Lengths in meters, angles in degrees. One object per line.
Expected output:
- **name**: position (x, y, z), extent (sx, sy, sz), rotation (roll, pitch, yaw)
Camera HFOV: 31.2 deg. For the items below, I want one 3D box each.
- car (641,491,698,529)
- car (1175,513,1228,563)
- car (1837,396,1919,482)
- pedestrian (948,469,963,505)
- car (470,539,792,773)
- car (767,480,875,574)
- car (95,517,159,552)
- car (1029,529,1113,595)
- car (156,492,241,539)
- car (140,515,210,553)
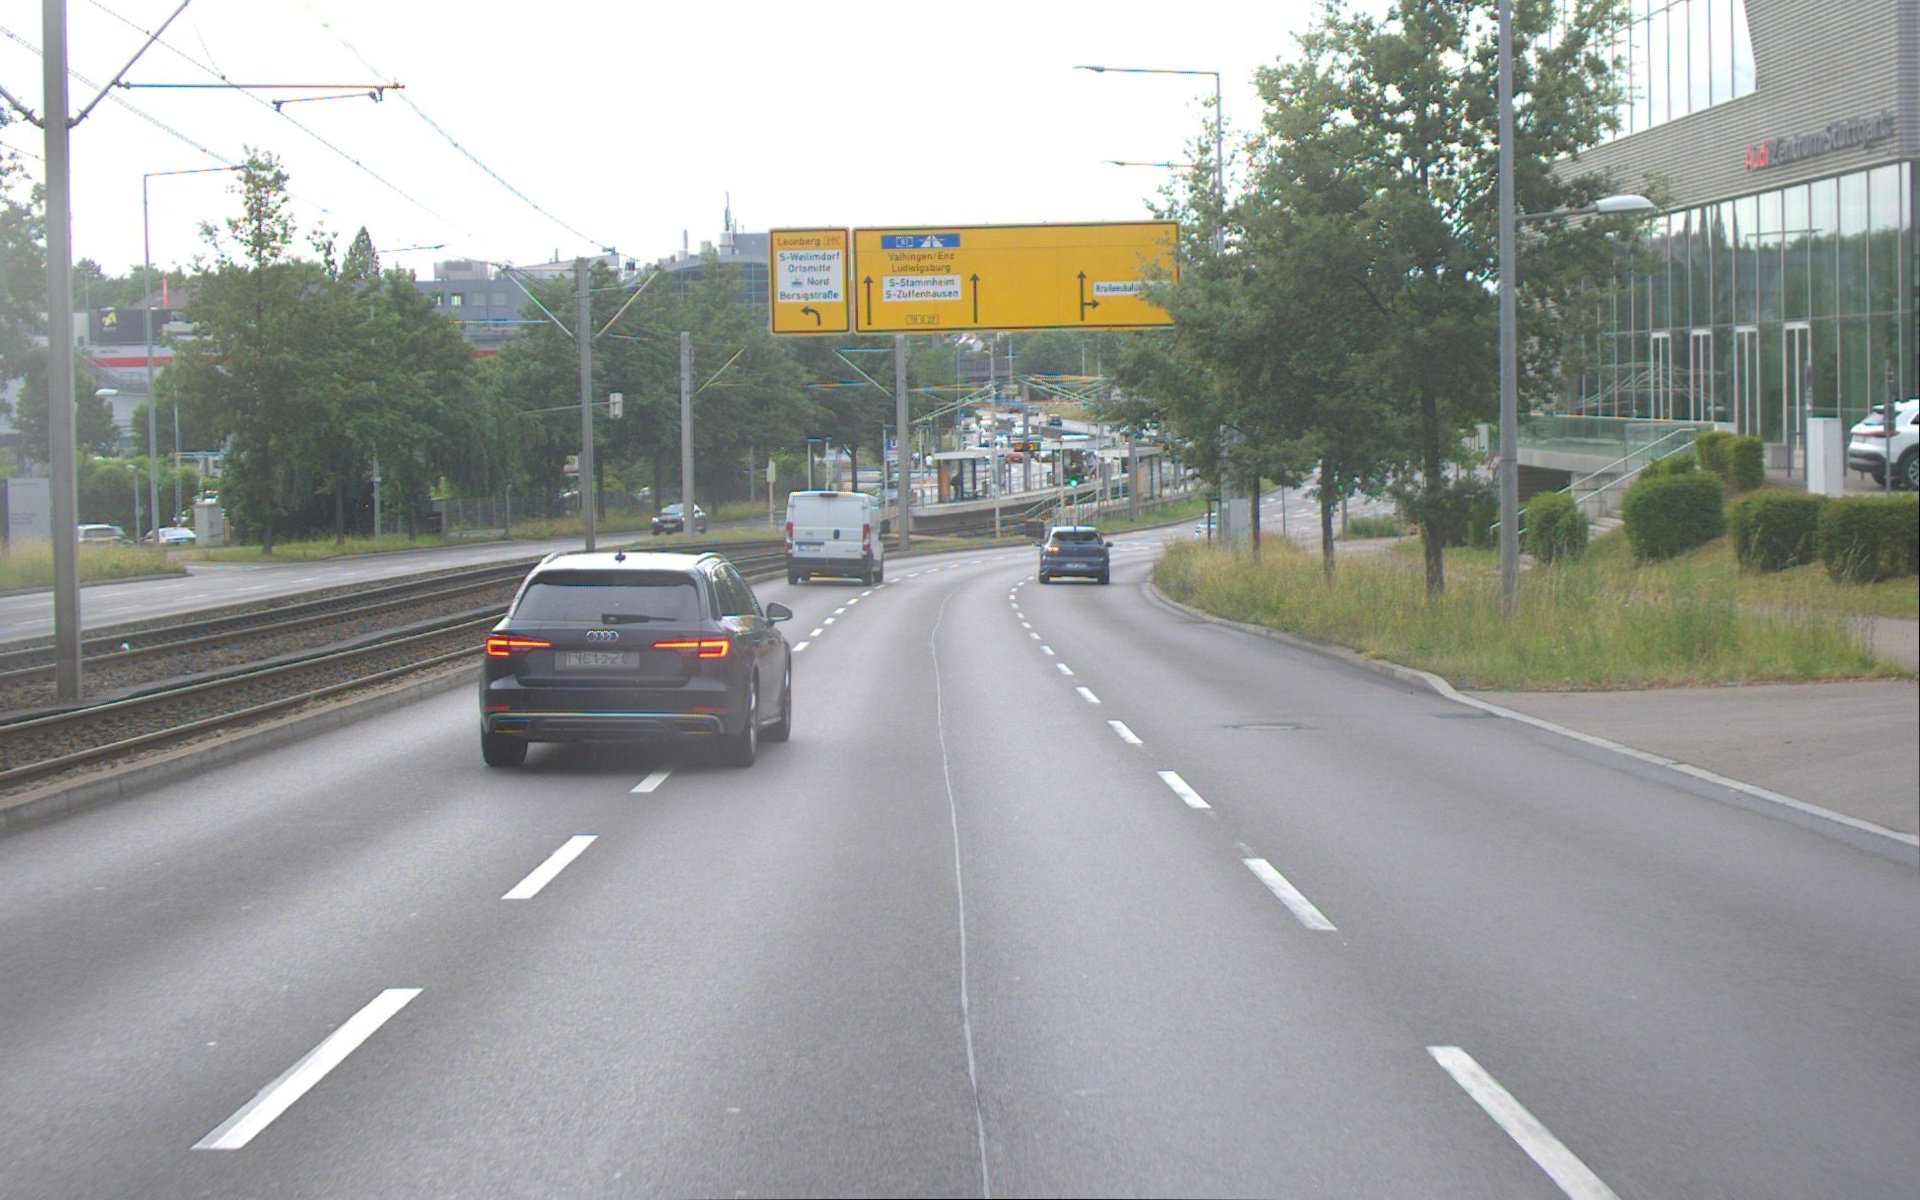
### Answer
- **car**: position (-12.850, -4.008, 152.236), extent (1.883, 1.515, 4.403), rotation (-3, 2, 2)
- **car**: position (9.460, -2.456, 135.038), extent (2.021, 1.763, 4.001), rotation (1, 4, 3)
- **car**: position (18.764, -2.993, 64.305), extent (4.259, 1.568, 1.693), rotation (0, 2, -1)
- **pedestrian**: position (-0.220, -5.903, 180.047), extent (0.637, 1.848, 0.750), rotation (1, 0, 11)
- **car**: position (-2.186, 0.313, 23.983), extent (1.764, 1.458, 4.627), rotation (0, 1, 0)
- **car**: position (-3.405, -1.752, 83.839), extent (2.511, 2.169, 5.150), rotation (1, 1, -3)
- **car**: position (-37.515, -2.948, 154.801), extent (1.993, 1.505, 4.001), rotation (1, 1, -26)
- **car**: position (2.804, -0.977, 87.871), extent (2.021, 1.617, 4.000), rotation (1, 1, 1)
- **car**: position (-28.434, -3.146, 128.540), extent (1.994, 1.645, 3.999), rotation (1, 1, 5)
- **car**: position (-32.807, -2.755, 143.589), extent (1.993, 1.505, 4.001), rotation (1, 1, -26)
